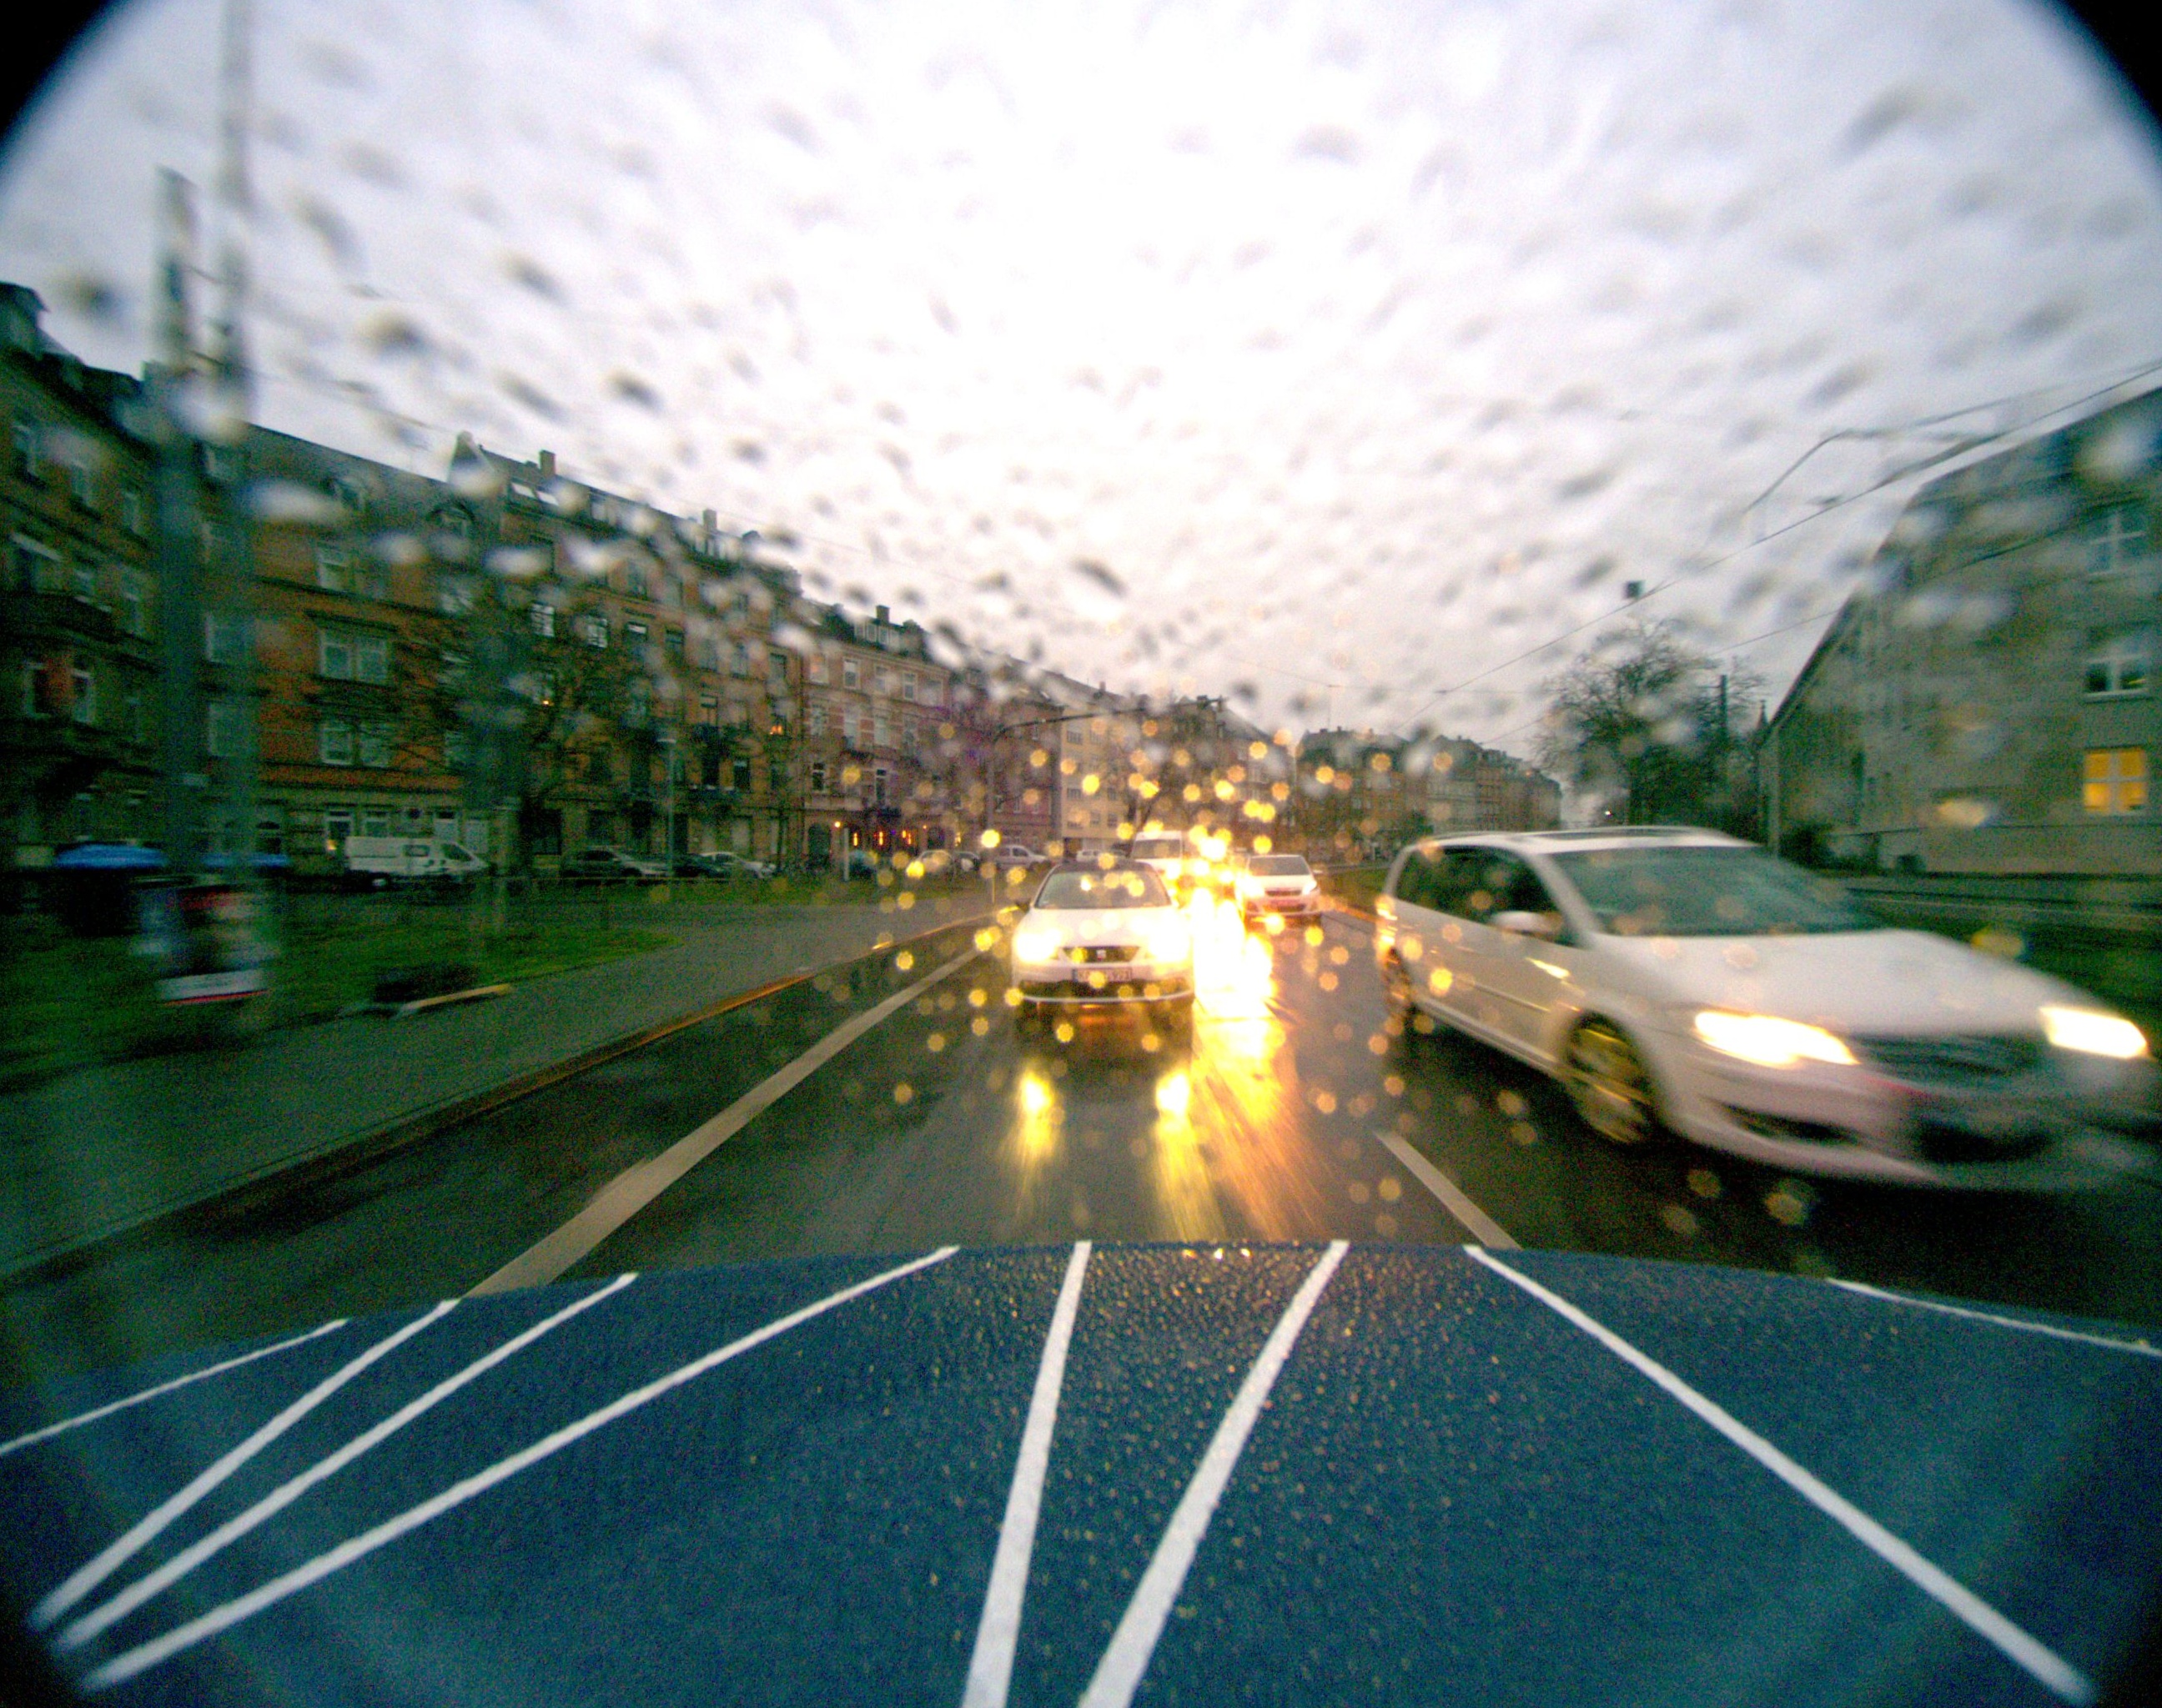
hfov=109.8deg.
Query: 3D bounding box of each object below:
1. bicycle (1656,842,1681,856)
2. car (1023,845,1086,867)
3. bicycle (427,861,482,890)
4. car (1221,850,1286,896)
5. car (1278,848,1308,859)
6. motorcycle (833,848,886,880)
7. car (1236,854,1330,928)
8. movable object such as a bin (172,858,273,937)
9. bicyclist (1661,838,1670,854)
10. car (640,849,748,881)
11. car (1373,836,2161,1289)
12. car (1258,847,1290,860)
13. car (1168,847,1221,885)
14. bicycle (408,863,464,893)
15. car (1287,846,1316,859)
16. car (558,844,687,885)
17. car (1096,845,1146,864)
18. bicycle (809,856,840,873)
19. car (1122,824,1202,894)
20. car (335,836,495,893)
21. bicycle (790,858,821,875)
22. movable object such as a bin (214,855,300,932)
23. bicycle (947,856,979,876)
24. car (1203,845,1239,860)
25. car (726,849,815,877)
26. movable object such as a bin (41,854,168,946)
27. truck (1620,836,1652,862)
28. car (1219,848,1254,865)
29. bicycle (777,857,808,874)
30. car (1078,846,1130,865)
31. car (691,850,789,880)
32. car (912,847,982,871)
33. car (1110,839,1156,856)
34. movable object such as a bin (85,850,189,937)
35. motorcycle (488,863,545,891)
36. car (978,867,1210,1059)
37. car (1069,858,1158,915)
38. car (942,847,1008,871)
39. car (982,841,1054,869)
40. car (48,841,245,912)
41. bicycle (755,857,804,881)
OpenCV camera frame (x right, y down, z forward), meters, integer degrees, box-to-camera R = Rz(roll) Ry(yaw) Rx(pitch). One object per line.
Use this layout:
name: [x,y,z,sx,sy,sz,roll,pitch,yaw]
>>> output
bicycle: [74.617,-0.692,96.587,2.446,1.697,0.847,-1,2,34]
car: [-1.787,0.126,51.292,3.957,1.436,1.703,0,1,13]
bicycle: [-21.266,0.729,25.782,1.792,0.926,0.446,2,2,14]
car: [6.132,0.621,26.657,1.874,1.466,4.176,-1,0,17]
car: [23.286,-0.059,83.392,3.180,1.276,1.383,0,1,18]
motorcycle: [-10.381,0.445,35.614,2.352,1.338,0.886,3,3,22]
car: [4.364,0.739,16.855,1.688,1.422,3.348,-1,1,9]
movable object such as a bin: [-16.352,0.790,14.520,1.050,1.424,1.228,0,1,43]
bicyclist: [74.416,-0.978,96.717,0.777,2.002,0.831,-1,2,35]
car: [-16.323,0.457,32.122,3.683,1.298,1.743,0,1,7]
car: [3.399,0.721,4.783,1.675,1.590,4.223,-1,0,3]
car: [20.480,-0.040,80.526,3.180,1.405,1.383,0,1,18]
car: [5.555,0.546,36.827,1.873,1.679,4.176,-1,1,18]
bicycle: [-21.395,0.793,25.211,1.792,0.926,0.446,2,2,14]
car: [25.438,-0.170,87.471,3.180,1.474,1.383,0,1,18]
car: [-18.165,0.404,30.189,4.151,1.560,1.743,0,1,7]
car: [3.049,0.036,58.218,3.608,1.362,1.619,0,1,12]
bicycle: [-13.465,0.542,39.833,1.790,0.813,0.395,2,2,29]
car: [3.285,0.155,29.548,2.239,2.448,5.675,-1,1,15]
car: [-27.722,0.381,31.790,1.994,2.176,4.671,0,1,36]
bicycle: [-14.047,0.619,38.771,1.790,0.773,0.447,2,2,32]
movable object such as a bin: [-16.874,0.769,15.589,1.050,1.477,1.142,0,1,43]
bicycle: [-6.044,0.608,38.795,1.790,0.926,0.447,2,2,36]
car: [13.129,-0.137,71.346,3.180,1.420,1.430,0,1,16]
car: [-15.024,0.426,36.876,3.683,1.298,1.522,0,1,7]
movable object such as a bin: [-17.116,0.758,13.372,1.050,1.502,1.255,0,1,43]
truck: [45.159,-0.423,61.802,1.833,2.032,4.008,0,1,40]
car: [15.132,0.226,73.792,3.180,1.615,1.430,0,1,16]
bicycle: [-14.572,0.568,38.315,1.790,0.790,0.447,2,2,32]
car: [1.693,0.076,56.022,3.608,1.362,1.619,0,1,12]
car: [-15.426,0.492,34.436,3.683,1.298,1.669,0,1,7]
car: [-7.834,0.295,44.544,3.683,1.391,1.522,0,1,8]
car: [4.155,-0.503,60.654,3.610,1.362,1.618,0,1,6]
movable object such as a bin: [-18.006,0.721,14.536,1.050,1.566,1.142,0,1,43]
motorcycle: [-19.973,0.796,26.892,1.793,0.926,0.513,1,2,8]
car: [0.270,0.910,8.103,1.787,1.370,4.224,-2,0,5]
car: [1.010,0.844,21.182,1.721,1.380,3.825,-1,1,14]
car: [-6.532,0.310,46.964,3.683,1.428,1.522,0,1,8]
car: [-4.066,0.070,49.176,4.339,1.758,1.782,0,1,7]
car: [-28.039,0.594,23.061,1.945,1.931,4.588,-1,1,-26]
bicycle: [-12.975,0.633,32.740,1.911,1.013,0.535,0,2,-33]
